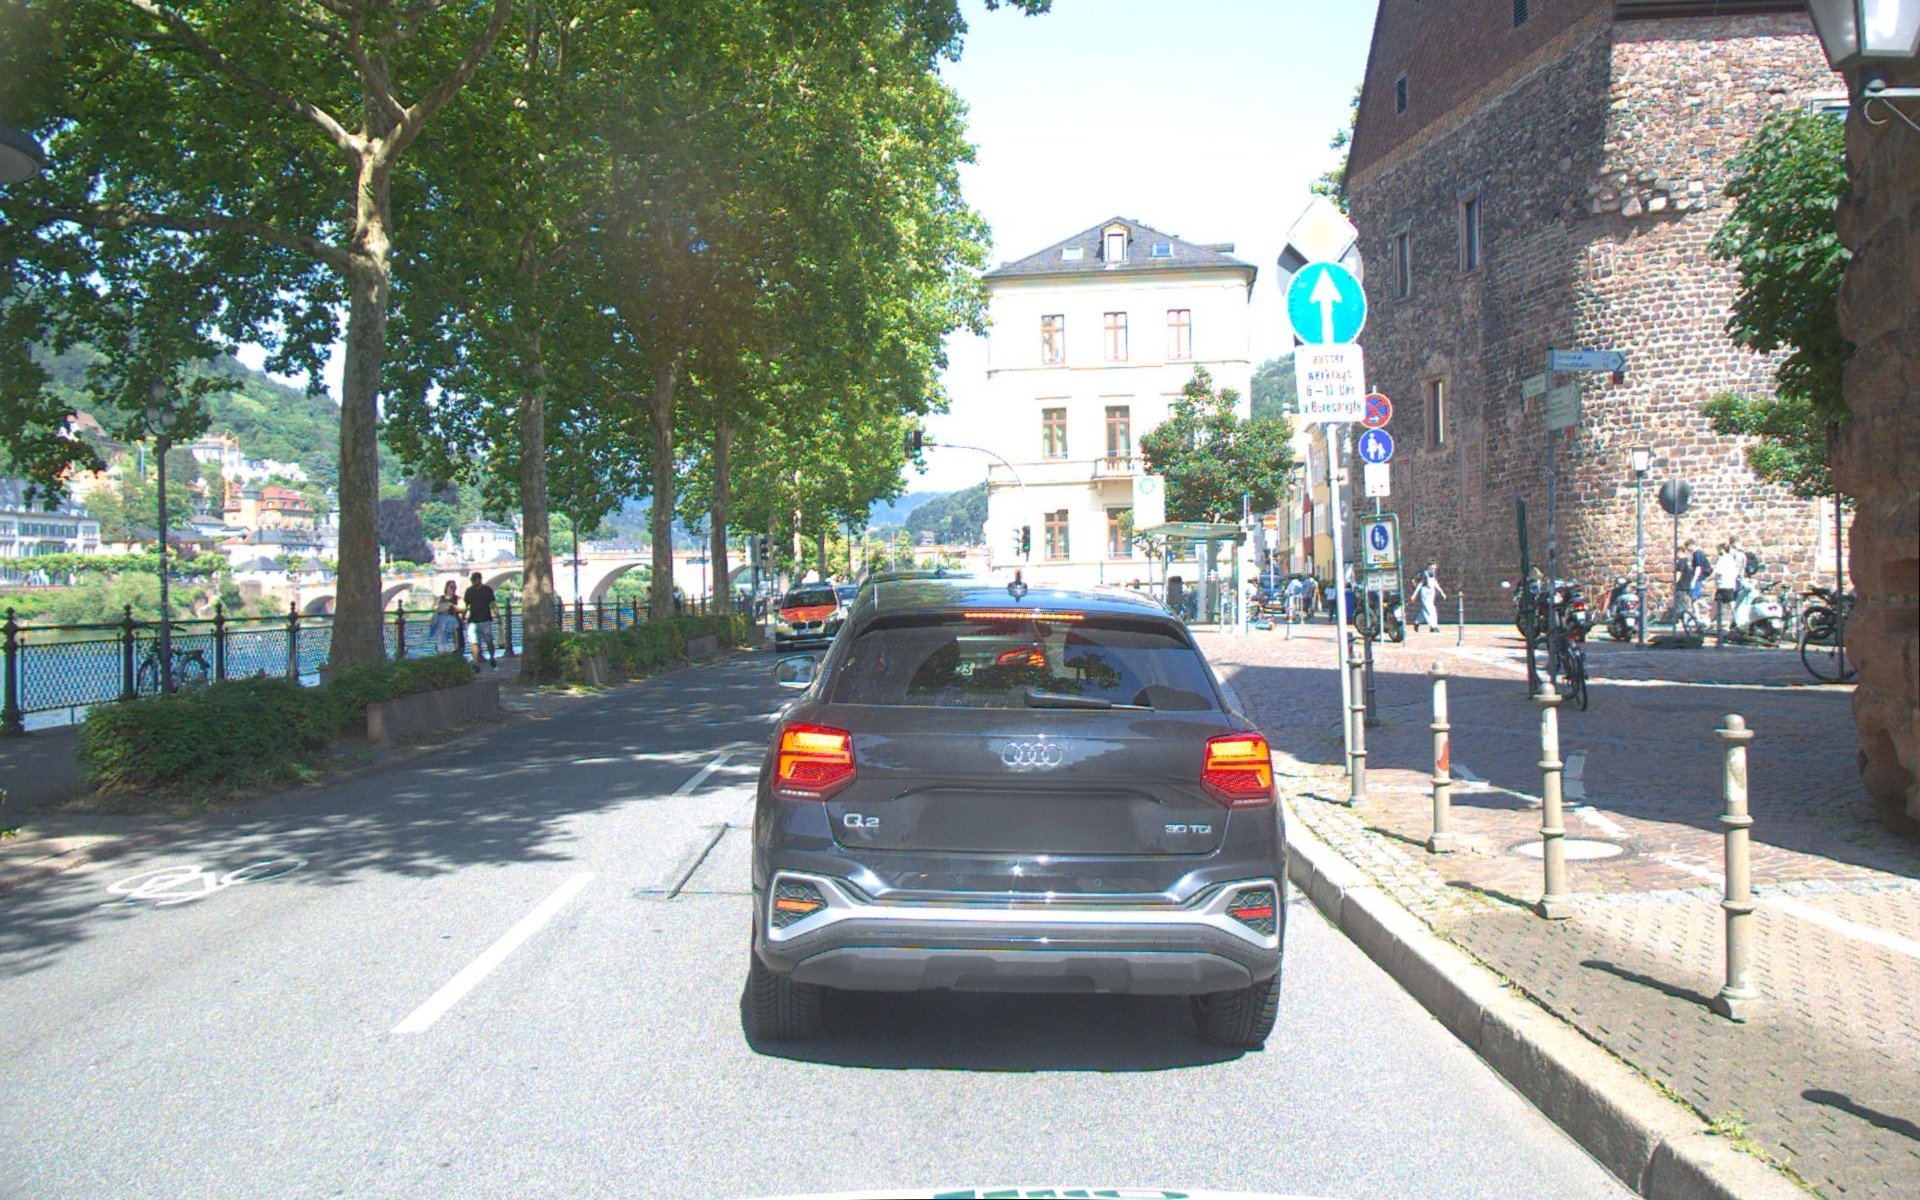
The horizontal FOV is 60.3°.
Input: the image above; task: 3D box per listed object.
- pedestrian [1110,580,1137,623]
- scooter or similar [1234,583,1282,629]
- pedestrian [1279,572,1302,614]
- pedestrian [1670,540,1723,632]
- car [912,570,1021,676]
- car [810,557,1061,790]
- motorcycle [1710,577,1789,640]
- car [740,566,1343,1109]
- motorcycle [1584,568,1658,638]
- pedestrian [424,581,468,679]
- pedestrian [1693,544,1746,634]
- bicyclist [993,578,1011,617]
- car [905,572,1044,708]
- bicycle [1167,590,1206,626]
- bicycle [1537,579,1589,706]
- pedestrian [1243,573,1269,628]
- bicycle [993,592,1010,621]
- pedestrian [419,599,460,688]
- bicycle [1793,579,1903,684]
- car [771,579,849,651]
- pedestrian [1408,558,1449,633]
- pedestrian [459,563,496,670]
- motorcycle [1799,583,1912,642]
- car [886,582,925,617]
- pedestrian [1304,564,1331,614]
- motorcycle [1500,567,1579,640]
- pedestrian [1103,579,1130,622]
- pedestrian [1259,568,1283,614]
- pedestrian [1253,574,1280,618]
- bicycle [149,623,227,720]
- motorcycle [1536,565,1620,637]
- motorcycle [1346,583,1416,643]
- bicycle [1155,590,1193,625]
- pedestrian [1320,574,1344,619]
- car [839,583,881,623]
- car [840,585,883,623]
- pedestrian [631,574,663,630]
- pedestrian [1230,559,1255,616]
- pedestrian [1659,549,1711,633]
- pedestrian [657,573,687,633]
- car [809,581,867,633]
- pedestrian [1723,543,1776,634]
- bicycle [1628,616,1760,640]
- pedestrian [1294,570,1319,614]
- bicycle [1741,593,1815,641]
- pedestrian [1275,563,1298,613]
[{"bbox_3d":[4.757,0.034,48.219,0.651,1.233,0.640,1,-1,-7],"label":"pedestrian"},{"bbox_3d":[7.114,0.140,39.464,1.067,1.084,0.323,1,-1,-3],"label":"scooter or similar"},{"bbox_3d":[12.829,-0.278,64.238,0.760,1.591,0.646,-2,0,4],"label":"pedestrian"},{"bbox_3d":[16.745,-0.317,37.620,0.726,2.049,0.865,1,-1,-41],"label":"pedestrian"},{"bbox_3d":[0.084,0.354,29.068,1.758,1.711,3.999,1,0,-1],"label":"car"},{"bbox_3d":[-0.197,0.510,13.447,1.756,1.623,3.398,1,0,-1],"label":"car"},{"bbox_3d":[14.102,0.155,29.581,0.496,1.092,1.840,1,0,-1],"label":"motorcycle"},{"bbox_3d":[0.210,0.664,6.574,1.707,1.535,3.646,1,1,-1],"label":"car"},{"bbox_3d":[12.256,0.059,30.720,0.535,1.257,2.030,1,0,-1],"label":"motorcycle"},{"bbox_3d":[-9.203,0.529,29.632,0.589,1.715,0.583,-1,0,-2],"label":"pedestrian"},{"bbox_3d":[16.485,-0.241,35.896,0.660,1.917,0.814,1,-1,-25],"label":"pedestrian"},{"bbox_3d":[1.570,-0.086,62.605,0.593,1.475,0.590,1,-1,-6],"label":"bicyclist"},{"bbox_3d":[0.151,0.462,21.694,1.676,1.637,3.654,0,0,-1],"label":"car"},{"bbox_3d":[6.711,0.237,49.050,1.184,1.053,0.178,1,-1,-20],"label":"bicycle"},{"bbox_3d":[6.175,0.401,16.978,0.189,1.225,1.771,0,1,10],"label":"bicycle"},{"bbox_3d":[7.623,0.018,42.628,0.546,1.409,0.588,1,-1,1],"label":"pedestrian"},{"bbox_3d":[1.561,0.250,62.663,0.428,1.105,1.675,1,0,-5],"label":"bicycle"},{"bbox_3d":[-8.306,0.691,26.401,0.469,1.386,0.417,-2,0,3],"label":"pedestrian"},{"bbox_3d":[10.583,0.351,19.763,0.437,1.182,1.731,-1,1,3],"label":"bicycle"},{"bbox_3d":[-3.837,0.358,42.930,1.639,1.689,4.222,-3,0,-1],"label":"car"},{"bbox_3d":[10.722,-0.104,37.844,0.791,1.691,0.656,-1,0,23],"label":"pedestrian"},{"bbox_3d":[-8.819,0.299,30.219,0.523,1.920,0.436,1,0,-1],"label":"pedestrian"},{"bbox_3d":[16.925,0.232,31.273,1.826,1.072,0.480,1,-1,7],"label":"motorcycle"},{"bbox_3d":[-2.959,-0.017,90.424,1.952,1.838,4.000,1,0,1],"label":"car"},{"bbox_3d":[14.873,-0.438,68.813,0.920,2.049,0.807,1,-1,2],"label":"pedestrian"},{"bbox_3d":[10.566,0.072,30.231,0.642,1.288,2.199,0,0,-1],"label":"motorcycle"},{"bbox_3d":[4.637,0.011,48.985,0.651,1.253,0.640,1,-1,-7],"label":"pedestrian"},{"bbox_3d":[13.955,-0.387,74.230,0.925,2.049,0.807,1,-1,-1],"label":"pedestrian"},{"bbox_3d":[10.488,-0.134,56.602,0.626,1.469,0.797,-2,0,-7],"label":"pedestrian"},{"bbox_3d":[-9.537,0.868,20.466,0.352,1.110,1.295,2,0,-2],"label":"bicycle"},{"bbox_3d":[11.398,0.023,30.579,0.661,1.257,2.312,1,0,-1],"label":"motorcycle"},{"bbox_3d":[7.688,0.216,30.292,0.555,1.030,2.489,-1,1,-2],"label":"motorcycle"},{"bbox_3d":[6.415,0.219,49.659,1.166,1.033,0.178,1,-1,-20],"label":"bicycle"},{"bbox_3d":[13.976,-0.137,62.150,0.677,1.640,0.891,-2,0,21],"label":"pedestrian"},{"bbox_3d":[-5.063,0.122,84.286,1.777,1.754,4.421,-6,1,-1],"label":"car"},{"bbox_3d":[-4.603,0.155,77.791,1.703,1.599,4.091,-4,1,-1],"label":"car"},{"bbox_3d":[-10.354,0.063,54.738,0.891,1.843,0.586,1,-2,3],"label":"pedestrian"},{"bbox_3d":[9.645,-0.408,56.492,0.732,1.923,0.752,1,-1,1],"label":"pedestrian"},{"bbox_3d":[16.151,-0.196,36.844,0.645,1.834,0.839,0,0,-30],"label":"pedestrian"},{"bbox_3d":[-9.941,0.099,57.105,0.891,2.049,0.586,1,-1,3],"label":"pedestrian"},{"bbox_3d":[-4.297,0.231,58.734,1.733,1.689,3.999,-3,0,-1],"label":"car"},{"bbox_3d":[17.269,-0.239,36.182,0.659,1.954,0.816,1,-1,-21],"label":"pedestrian"},{"bbox_3d":[12.271,0.463,27.701,1.887,0.388,0.918,0,-1,14],"label":"bicycle"},{"bbox_3d":[13.249,-0.309,63.251,0.760,1.649,0.645,-2,0,1],"label":"pedestrian"},{"bbox_3d":[15.124,0.301,30.625,0.346,0.835,1.926,1,1,-2],"label":"bicycle"},{"bbox_3d":[13.697,-0.497,69.402,0.822,2.049,0.738,1,-1,-1],"label":"pedestrian"}]
